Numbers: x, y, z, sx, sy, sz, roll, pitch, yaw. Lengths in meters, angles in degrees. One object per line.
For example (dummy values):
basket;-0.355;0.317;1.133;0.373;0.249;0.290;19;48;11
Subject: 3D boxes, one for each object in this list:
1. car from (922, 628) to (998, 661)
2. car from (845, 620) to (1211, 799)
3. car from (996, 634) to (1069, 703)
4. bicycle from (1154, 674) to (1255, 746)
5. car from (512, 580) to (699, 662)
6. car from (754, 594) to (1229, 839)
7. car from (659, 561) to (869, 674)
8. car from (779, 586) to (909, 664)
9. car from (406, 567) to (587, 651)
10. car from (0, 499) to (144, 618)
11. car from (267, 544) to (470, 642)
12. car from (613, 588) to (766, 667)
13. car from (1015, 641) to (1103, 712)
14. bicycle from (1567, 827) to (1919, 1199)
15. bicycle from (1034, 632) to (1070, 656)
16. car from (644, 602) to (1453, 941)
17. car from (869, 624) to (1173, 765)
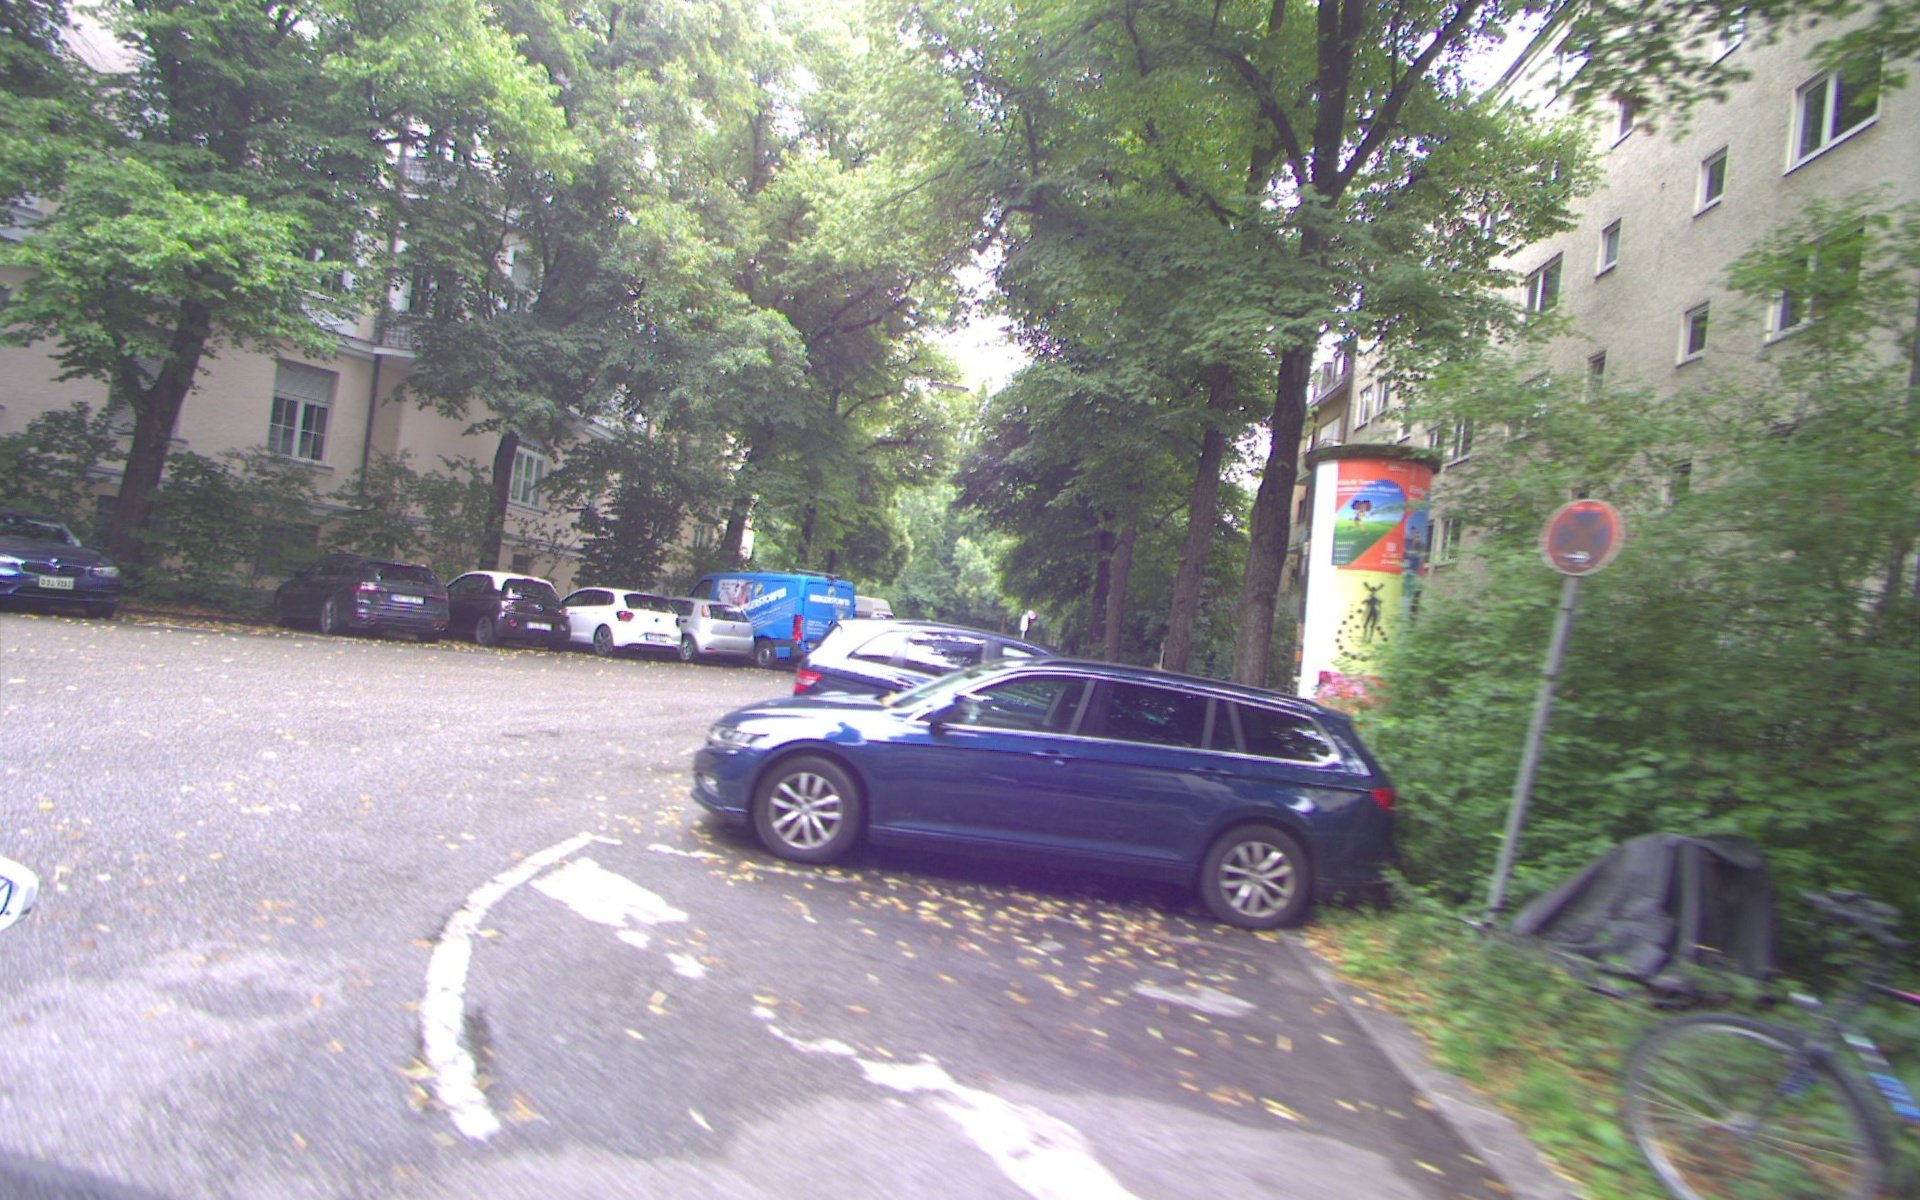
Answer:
car;0.024;2.973;66.797;4.725;1.513;1.844;8;-1;9
car;0.747;1.232;11.963;3.875;1.464;1.828;8;-1;0
car;2.131;1.961;29.905;1.803;1.648;4.529;8;-2;4
bicycle;4.767;2.139;19.571;1.853;1.177;0.760;9;-1;-34
car;-7.856;0.437;22.176;4.225;1.530;1.798;2;-4;38
car;0.298;1.020;9.504;3.909;1.573;1.758;8;-1;4
car;-5.074;0.389;25.609;5.418;2.380;2.059;3;-4;39
car;-4.287;0.910;37.114;4.158;2.262;1.932;7;-1;28
car;-9.483;0.175;20.495;3.698;1.441;1.827;1;-5;39
car;-13.659;-0.690;14.351;4.273;1.399;1.841;5;-2;33
car;-10.729;-0.153;18.141;4.107;1.441;1.856;3;-4;41
car;-6.391;0.630;23.660;3.503;1.449;1.638;4;-3;40
car;2.396;1.867;25.365;1.869;1.429;4.434;6;-2;3
bicycle;2.616;1.356;2.522;0.548;1.151;1.762;7;-1;-25
bicycle;4.764;2.290;52.265;1.724;0.993;0.273;7;-1;13
car;0.527;1.046;6.913;4.647;1.393;1.961;8;-1;0
car;0.795;1.322;14.550;4.023;1.410;1.734;8;-1;-4
